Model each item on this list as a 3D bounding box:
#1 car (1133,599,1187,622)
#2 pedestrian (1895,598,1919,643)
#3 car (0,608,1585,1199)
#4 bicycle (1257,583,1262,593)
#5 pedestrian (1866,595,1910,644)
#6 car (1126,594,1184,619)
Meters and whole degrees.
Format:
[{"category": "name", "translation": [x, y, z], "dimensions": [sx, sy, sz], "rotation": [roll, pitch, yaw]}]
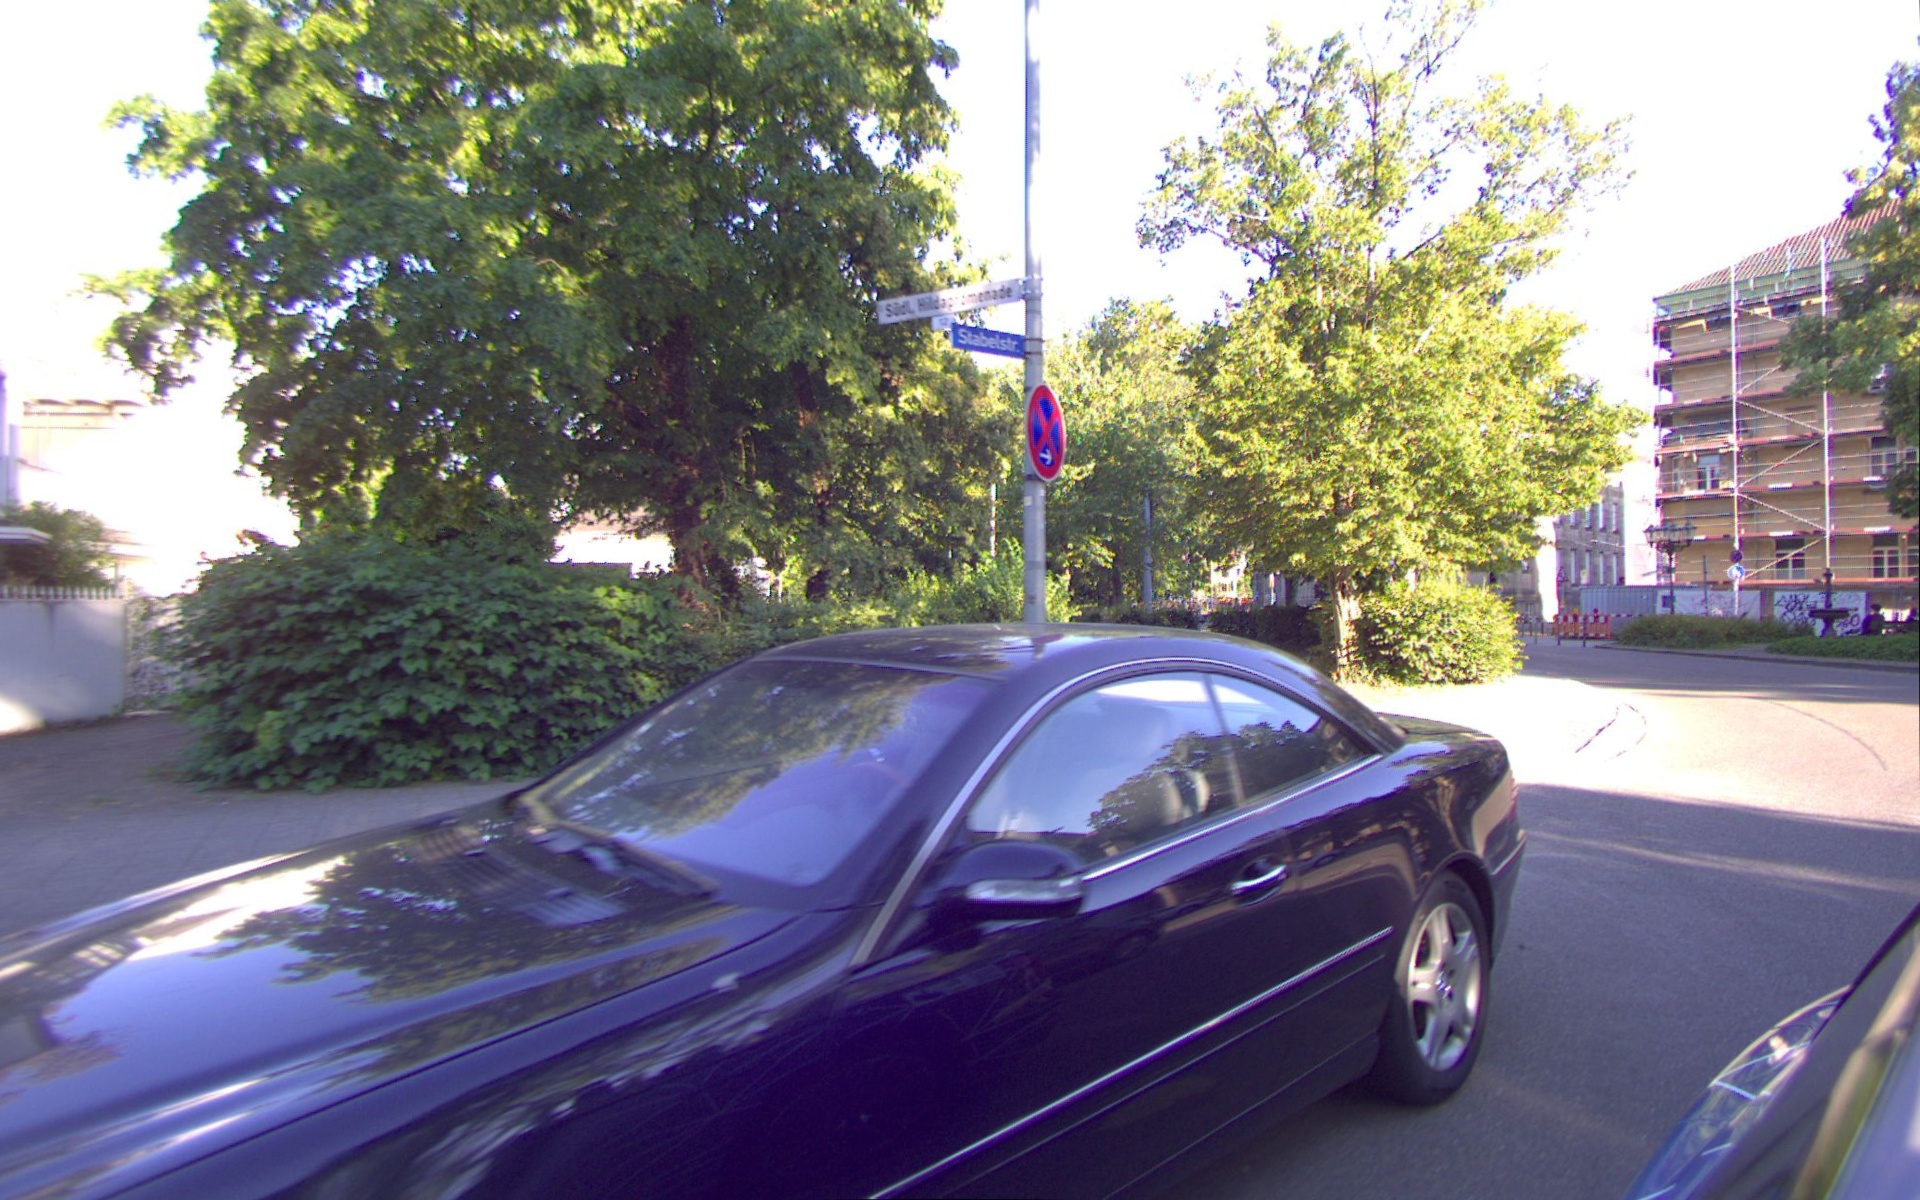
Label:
[{"category": "car", "translation": [15.218, 0.802, 77.181], "dimensions": [3.933, 1.566, 1.731], "rotation": [2, 0, 8]}, {"category": "pedestrian", "translation": [26.155, 0.543, 27.616], "dimensions": [0.544, 1.211, 0.880], "rotation": [0, -1, 13]}, {"category": "car", "translation": [-0.018, 0.791, 2.894], "dimensions": [4.781, 1.487, 1.768], "rotation": [0, -1, -42]}, {"category": "bicycle", "translation": [38.428, -1.487, 129.703], "dimensions": [0.453, 1.224, 1.864], "rotation": [0, 0, 21]}, {"category": "pedestrian", "translation": [25.372, 0.524, 27.686], "dimensions": [0.544, 1.314, 0.762], "rotation": [0, -1, 13]}, {"category": "car", "translation": [16.864, 0.532, 87.880], "dimensions": [4.729, 2.023, 2.077], "rotation": [2, 0, 7]}]
